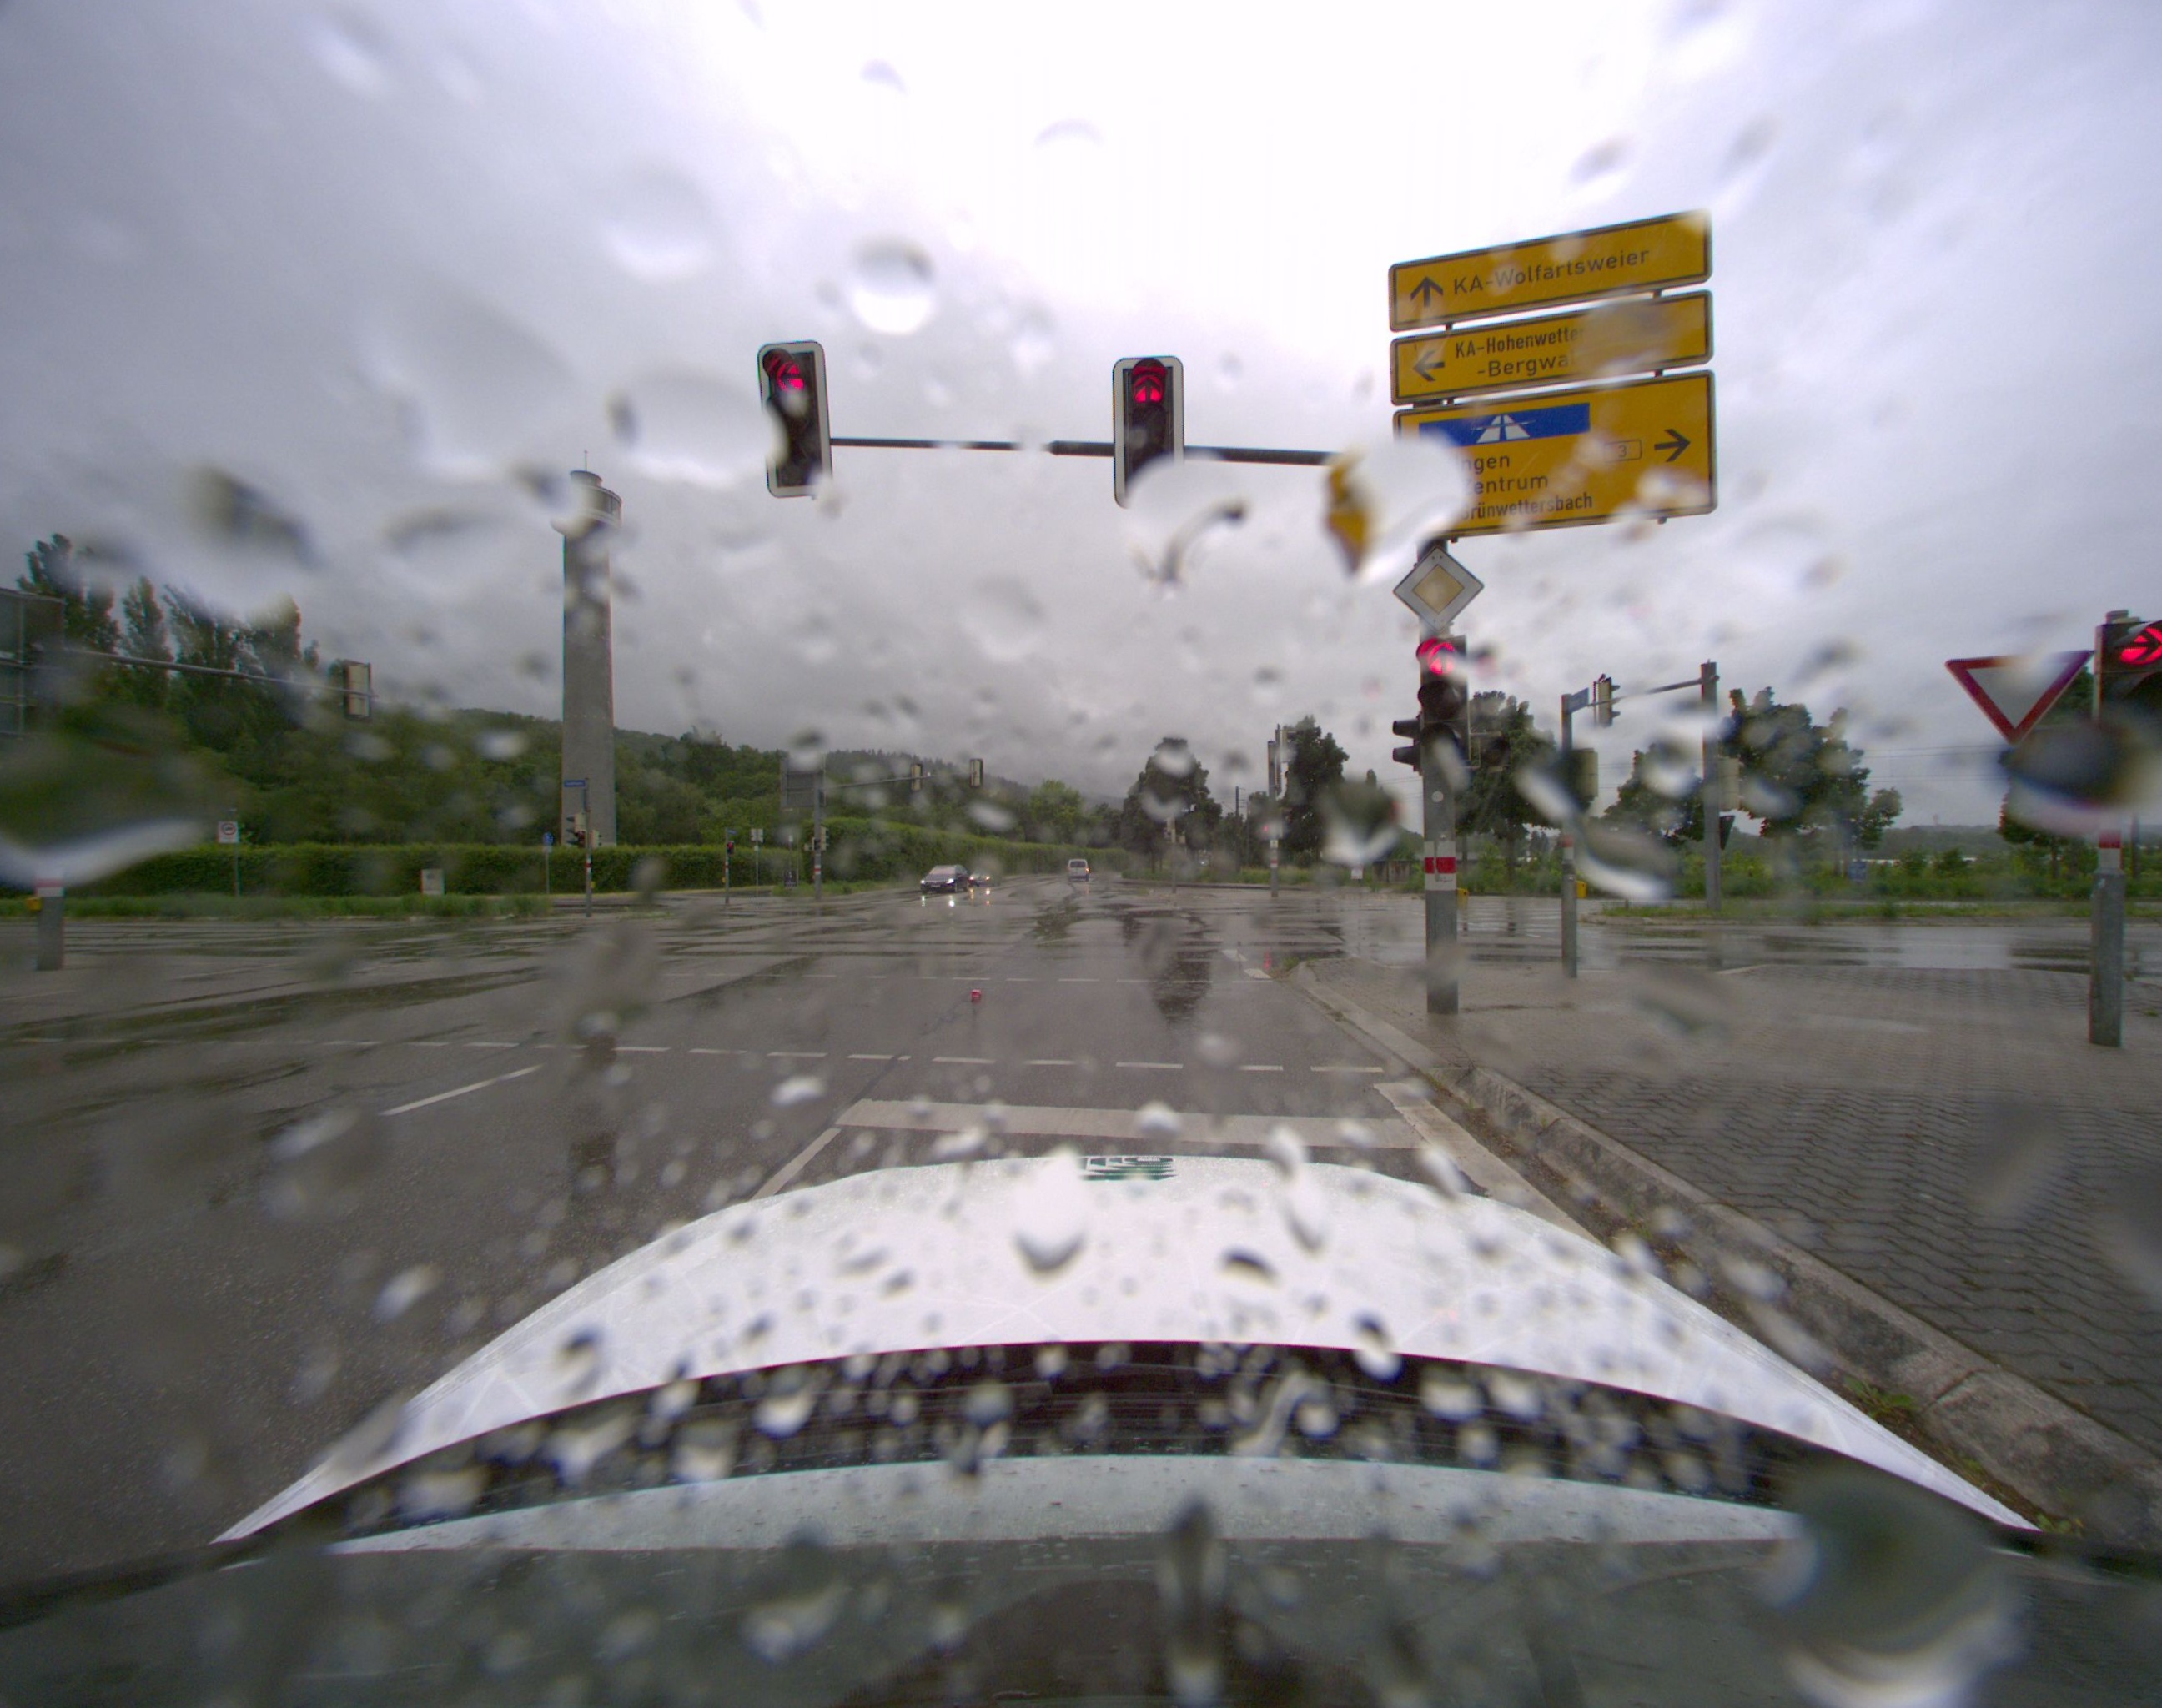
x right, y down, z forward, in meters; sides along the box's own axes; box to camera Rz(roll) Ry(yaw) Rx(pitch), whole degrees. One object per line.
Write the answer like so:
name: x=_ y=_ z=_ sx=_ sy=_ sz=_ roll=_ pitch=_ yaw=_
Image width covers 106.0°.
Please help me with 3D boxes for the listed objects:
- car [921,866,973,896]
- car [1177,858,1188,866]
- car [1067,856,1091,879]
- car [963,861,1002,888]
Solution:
car: x=-7.139 y=1.392 z=43.812 sx=1.700 sy=1.466 sz=4.459 roll=-1 pitch=0 yaw=5
car: x=23.708 y=1.897 z=190.112 sx=1.917 sy=1.890 sz=4.079 roll=-1 pitch=0 yaw=16
car: x=-0.154 y=1.109 z=68.932 sx=1.947 sy=1.904 sz=4.119 roll=-1 pitch=0 yaw=0
car: x=-6.638 y=1.346 z=55.221 sx=2.029 sy=1.708 sz=4.067 roll=-1 pitch=0 yaw=2
